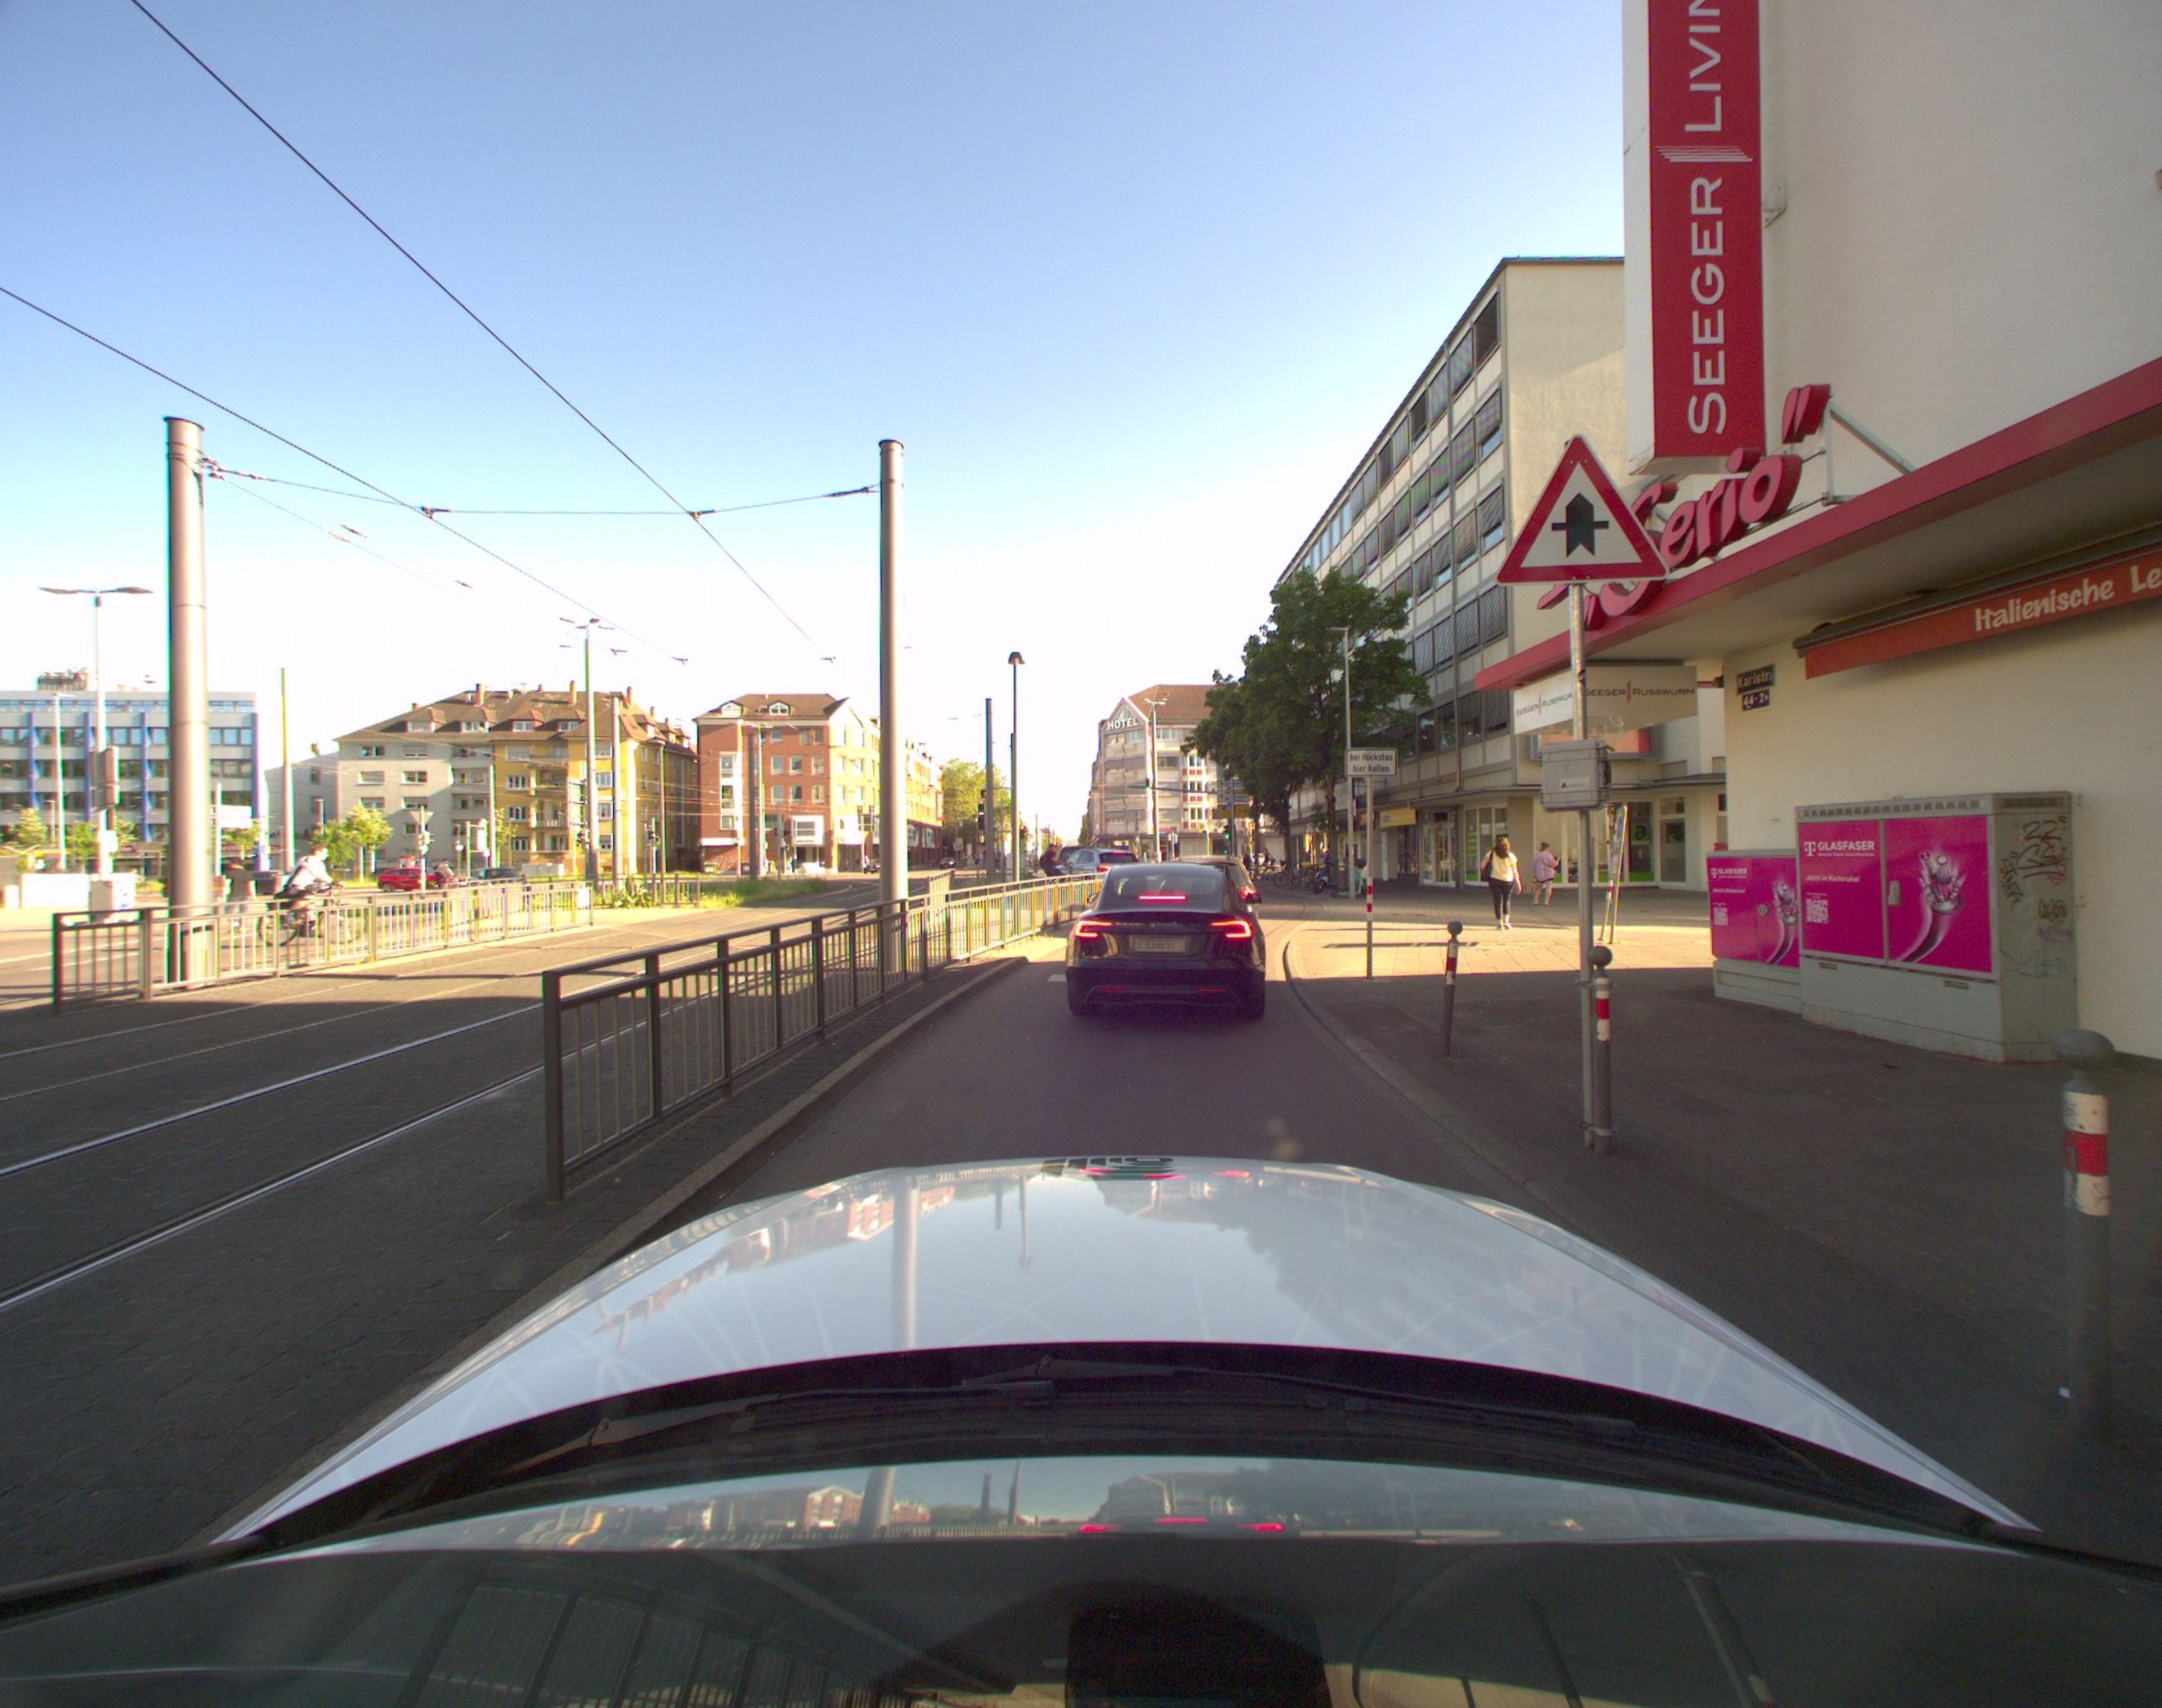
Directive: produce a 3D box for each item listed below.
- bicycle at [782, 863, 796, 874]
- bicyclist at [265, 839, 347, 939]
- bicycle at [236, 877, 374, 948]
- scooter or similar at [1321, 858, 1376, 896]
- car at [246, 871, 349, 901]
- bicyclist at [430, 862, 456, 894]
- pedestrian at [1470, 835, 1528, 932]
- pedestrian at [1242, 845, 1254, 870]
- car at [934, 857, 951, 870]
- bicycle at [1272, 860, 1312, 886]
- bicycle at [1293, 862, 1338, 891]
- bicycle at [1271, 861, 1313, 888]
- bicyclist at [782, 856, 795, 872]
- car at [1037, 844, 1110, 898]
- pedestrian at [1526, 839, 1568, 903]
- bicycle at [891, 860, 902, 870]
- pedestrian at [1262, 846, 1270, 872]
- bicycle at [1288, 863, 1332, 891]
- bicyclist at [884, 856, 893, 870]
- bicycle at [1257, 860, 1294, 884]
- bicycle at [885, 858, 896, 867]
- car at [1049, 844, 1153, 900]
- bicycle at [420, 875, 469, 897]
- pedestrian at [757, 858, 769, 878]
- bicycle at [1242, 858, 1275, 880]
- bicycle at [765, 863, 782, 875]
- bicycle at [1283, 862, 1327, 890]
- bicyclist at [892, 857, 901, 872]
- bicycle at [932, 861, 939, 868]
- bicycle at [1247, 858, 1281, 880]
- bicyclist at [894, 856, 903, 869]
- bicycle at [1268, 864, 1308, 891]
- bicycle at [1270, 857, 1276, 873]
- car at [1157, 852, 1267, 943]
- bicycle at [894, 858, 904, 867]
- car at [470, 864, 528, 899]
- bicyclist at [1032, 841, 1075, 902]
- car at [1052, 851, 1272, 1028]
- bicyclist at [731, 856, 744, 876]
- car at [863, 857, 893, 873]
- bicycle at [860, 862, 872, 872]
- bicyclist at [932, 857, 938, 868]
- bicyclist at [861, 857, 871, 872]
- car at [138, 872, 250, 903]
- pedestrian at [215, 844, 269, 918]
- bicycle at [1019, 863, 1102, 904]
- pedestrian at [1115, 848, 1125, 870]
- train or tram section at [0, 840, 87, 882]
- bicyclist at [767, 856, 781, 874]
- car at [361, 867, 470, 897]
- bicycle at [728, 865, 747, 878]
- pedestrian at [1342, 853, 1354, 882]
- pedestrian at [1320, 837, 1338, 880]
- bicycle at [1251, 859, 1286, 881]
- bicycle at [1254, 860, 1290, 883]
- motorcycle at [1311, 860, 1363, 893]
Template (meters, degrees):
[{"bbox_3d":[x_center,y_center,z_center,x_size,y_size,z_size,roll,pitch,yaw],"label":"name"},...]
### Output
[{"bbox_3d":[-26.870,1.351,74.947,0.402,0.981,1.699,-1,-1,10],"label":"bicycle"},{"bbox_3d":[-13.972,0.614,14.707,0.750,1.759,0.757,0,-1,-7],"label":"bicyclist"},{"bbox_3d":[-13.930,1.031,14.649,1.847,1.222,0.484,0,-1,-8],"label":"bicycle"},{"bbox_3d":[8.900,0.760,27.101,1.625,1.215,0.649,-1,-1,32],"label":"scooter or similar"},{"bbox_3d":[-45.493,1.835,47.378,3.984,1.672,1.772,0,-1,-8],"label":"car"},{"bbox_3d":[-36.082,1.341,46.074,0.901,1.808,0.788,0,-1,-11],"label":"bicyclist"},{"bbox_3d":[7.899,0.533,15.424,0.906,1.752,1.044,-1,0,25],"label":"pedestrian"},{"bbox_3d":[11.111,0.248,54.223,0.697,1.662,0.777,0,-1,1],"label":"pedestrian"},{"bbox_3d":[-18.086,1.230,106.413,1.692,1.731,3.706,0,-1,0],"label":"car"},{"bbox_3d":[9.120,0.813,35.261,1.643,1.099,0.350,0,-1,3],"label":"bicycle"},{"bbox_3d":[8.897,0.855,30.941,1.649,1.099,0.349,0,-1,-9],"label":"bicycle"},{"bbox_3d":[8.618,0.843,33.322,1.649,1.099,0.349,0,-1,-9],"label":"bicycle"},{"bbox_3d":[-26.930,0.922,74.910,0.699,1.471,0.975,-1,0,9],"label":"bicyclist"},{"bbox_3d":[-0.385,0.664,32.718,1.997,2.014,3.980,-1,0,-15],"label":"car"},{"bbox_3d":[12.368,0.449,21.635,0.881,1.667,0.813,-1,-1,25],"label":"pedestrian"},{"bbox_3d":[-20.018,1.199,88.284,0.456,1.093,2.205,0,-1,6],"label":"bicycle"},{"bbox_3d":[12.361,0.326,54.444,0.522,1.710,0.405,-1,-1,14],"label":"pedestrian"},{"bbox_3d":[8.819,0.865,31.365,1.649,1.061,0.349,0,-1,-9],"label":"bicycle"},{"bbox_3d":[-22.074,1.050,93.535,0.780,1.563,0.747,-1,0,3],"label":"bicyclist"},{"bbox_3d":[9.142,0.832,38.215,1.643,1.099,0.350,0,-1,3],"label":"bicycle"},{"bbox_3d":[-22.017,0.957,94.218,0.527,1.088,2.286,0,-1,4],"label":"bicycle"},{"bbox_3d":[0.546,0.553,26.613,1.891,1.662,4.126,0,-1,-23],"label":"car"},{"bbox_3d":[-35.980,1.820,46.057,2.188,1.214,0.544,0,-1,-11],"label":"bicycle"},{"bbox_3d":[-29.081,1.293,74.520,0.780,1.820,0.747,0,-1,3],"label":"pedestrian"},{"bbox_3d":[9.245,0.785,42.396,1.643,1.099,0.350,0,-1,3],"label":"bicycle"},{"bbox_3d":[-25.858,1.289,68.548,0.522,0.972,2.247,0,-1,2],"label":"bicycle"},{"bbox_3d":[8.732,0.855,31.791,1.649,1.099,0.349,0,-1,-9],"label":"bicycle"},{"bbox_3d":[-19.982,1.140,88.290,0.781,1.527,0.590,0,-1,6],"label":"bicyclist"},{"bbox_3d":[-21.876,1.547,122.304,0.527,1.088,2.227,0,-1,4],"label":"bicycle"},{"bbox_3d":[9.264,0.755,41.301,1.643,1.099,0.350,-1,0,3],"label":"bicycle"},{"bbox_3d":[-21.847,1.053,97.483,0.780,1.563,0.747,-1,0,3],"label":"bicyclist"},{"bbox_3d":[8.711,0.998,34.293,1.649,1.099,0.349,0,-1,-9],"label":"bicycle"},{"bbox_3d":[12.736,0.730,54.061,0.330,1.034,1.260,-1,-1,11],"label":"bicycle"},{"bbox_3d":[2.385,0.693,15.066,1.741,1.454,4.009,-1,0,8],"label":"car"},{"bbox_3d":[-21.885,1.007,98.139,0.527,1.088,2.227,-1,0,3],"label":"bicycle"},{"bbox_3d":[-27.053,1.255,37.947,1.649,1.526,3.831,0,-1,-27],"label":"car"},{"bbox_3d":[-0.764,0.466,22.324,0.763,1.628,0.967,0,-1,-37],"label":"bicyclist"},{"bbox_3d":[0.907,0.726,8.807,1.820,1.455,4.007,0,-1,7],"label":"car"},{"bbox_3d":[-26.018,0.912,61.716,0.631,1.503,0.696,0,-1,1],"label":"bicyclist"},{"bbox_3d":[-19.388,1.045,77.990,1.703,1.527,4.039,0,-1,3],"label":"car"},{"bbox_3d":[-22.652,1.371,85.859,0.535,1.088,2.227,0,-1,4],"label":"bicycle"},{"bbox_3d":[-21.896,1.252,122.091,0.780,1.563,0.747,0,-1,3],"label":"bicyclist"},{"bbox_3d":[-22.631,1.087,85.744,0.780,1.563,0.747,0,-1,3],"label":"bicyclist"},{"bbox_3d":[-50.622,1.875,46.560,3.952,1.685,1.903,0,-1,-11],"label":"car"},{"bbox_3d":[-19.476,0.608,18.910,0.585,1.681,0.779,-1,-1,34],"label":"pedestrian"},{"bbox_3d":[-0.553,0.799,22.546,2.346,1.053,0.624,0,-1,-36],"label":"bicycle"},{"bbox_3d":[3.617,0.464,76.252,0.917,2.014,0.973,0,-1,1],"label":"pedestrian"},{"bbox_3d":[-83.034,0.567,61.277,11.231,3.131,2.795,0,-1,-10],"label":"train or tram section"},{"bbox_3d":[-25.875,0.887,68.544,0.895,1.503,0.696,0,-1,1],"label":"bicyclist"},{"bbox_3d":[-39.455,1.650,48.374,4.585,1.700,1.993,0,-1,-10],"label":"car"},{"bbox_3d":[-26.004,1.323,61.684,0.445,0.972,2.247,0,-1,2],"label":"bicycle"},{"bbox_3d":[12.610,0.620,38.469,0.388,1.343,0.513,0,-1,4],"label":"pedestrian"},{"bbox_3d":[11.797,0.221,38.725,0.659,2.014,0.580,0,-1,4],"label":"pedestrian"},{"bbox_3d":[9.282,0.793,40.253,1.643,1.099,0.350,0,-1,3],"label":"bicycle"},{"bbox_3d":[9.206,0.836,39.241,1.643,1.099,0.350,0,-1,3],"label":"bicycle"},{"bbox_3d":[9.146,0.787,29.127,1.701,1.173,0.541,0,-1,0],"label":"motorcycle"}]
